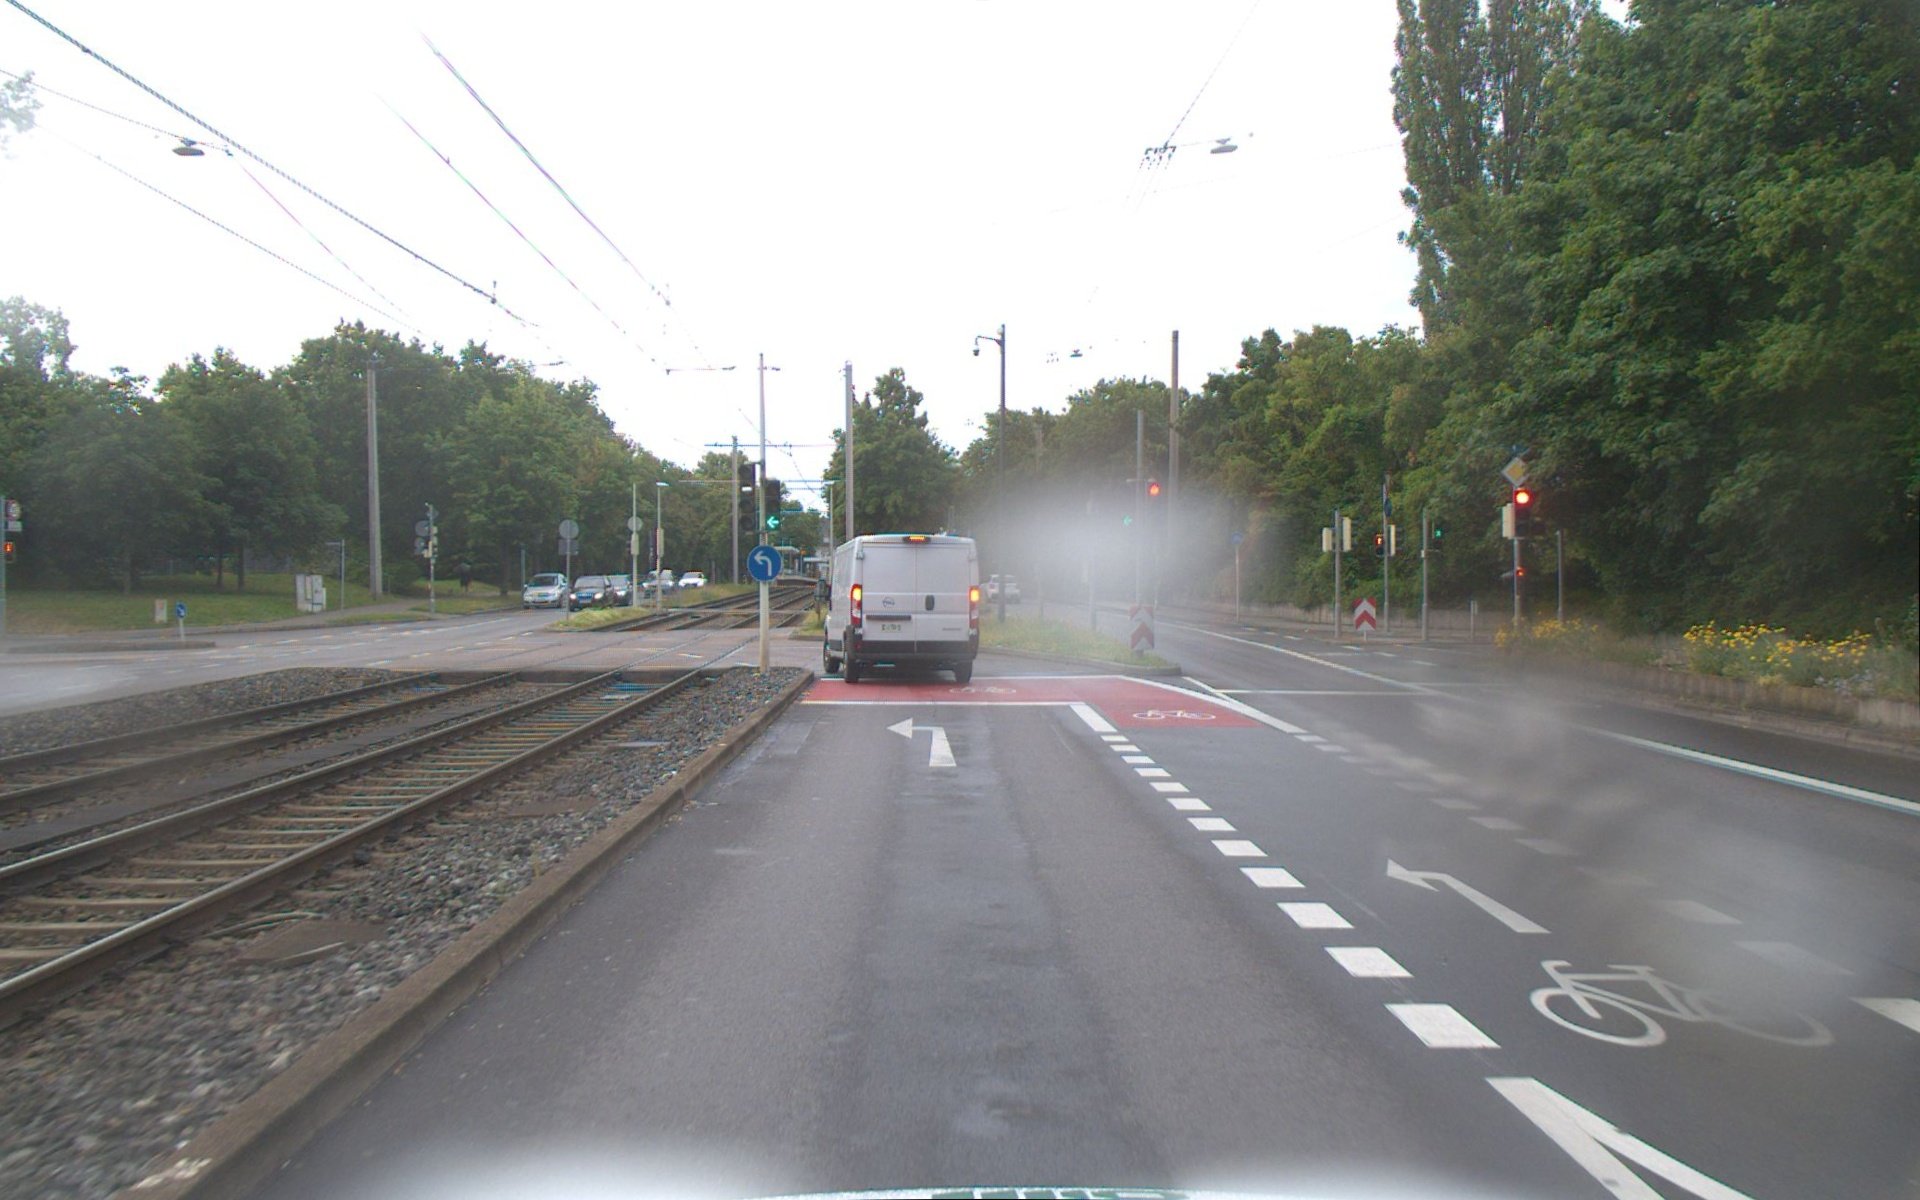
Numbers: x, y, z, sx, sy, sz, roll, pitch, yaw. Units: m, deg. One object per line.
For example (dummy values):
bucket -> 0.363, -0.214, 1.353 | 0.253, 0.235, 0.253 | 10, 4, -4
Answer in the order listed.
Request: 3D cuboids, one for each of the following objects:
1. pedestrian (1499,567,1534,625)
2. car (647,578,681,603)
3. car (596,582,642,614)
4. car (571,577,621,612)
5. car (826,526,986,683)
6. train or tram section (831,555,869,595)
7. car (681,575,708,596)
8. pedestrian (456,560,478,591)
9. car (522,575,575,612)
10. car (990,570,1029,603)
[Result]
pedestrian -> 16.072, -0.112, 47.785 | 0.791, 1.635, 0.683 | 1, -2, -1
car -> -17.909, -0.602, 100.109 | 1.569, 1.426, 3.789 | 1, 1, -4
car -> -16.044, -0.117, 77.926 | 1.569, 1.426, 3.789 | 1, 1, -4
car -> -16.009, -0.256, 72.876 | 1.569, 1.426, 3.789 | 1, 1, -4
car -> -1.003, 0.032, 27.250 | 2.106, 2.323, 5.054 | 0, 1, -8
train or tram section -> -12.846, -2.887, 195.019 | 3.978, 3.963, 15.031 | 1, -2, -2
car -> -19.737, -1.080, 123.173 | 1.569, 1.426, 3.789 | 1, 1, -4
pedestrian -> -26.490, -1.326, 88.838 | 0.994, 1.628, 1.038 | 0, 1, -9
car -> -19.635, -0.342, 79.074 | 1.685, 1.580, 3.860 | -3, 2, -4
car -> 2.472, -0.709, 83.533 | 1.669, 1.548, 3.790 | 1, 1, -3
